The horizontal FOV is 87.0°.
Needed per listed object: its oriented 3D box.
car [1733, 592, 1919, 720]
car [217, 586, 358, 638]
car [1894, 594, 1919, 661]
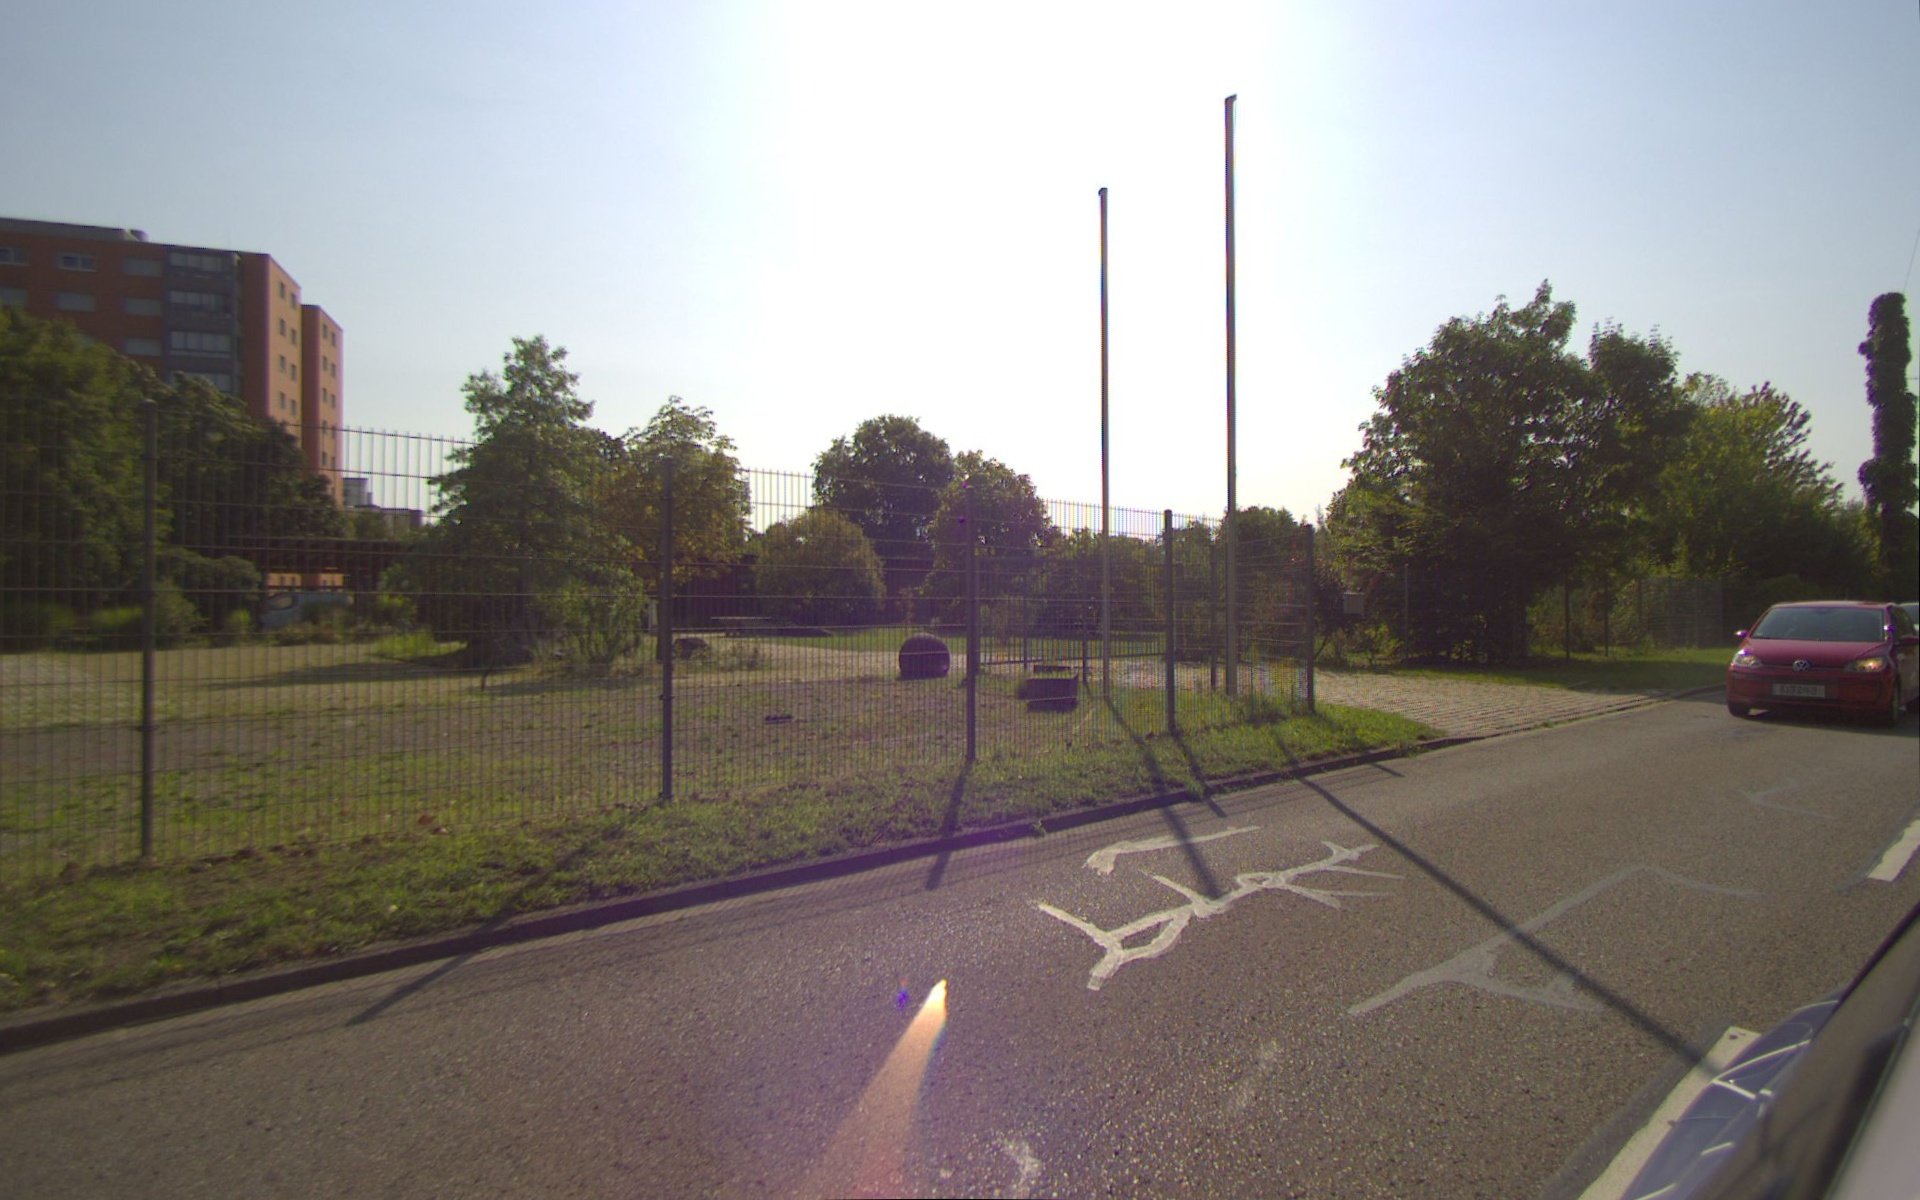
[{"bbox_3d":[11.472,0.617,13.117,3.410,1.416,1.578,-1,1,-39],"label":"car"},{"bbox_3d":[-23.362,0.388,35.217,3.930,1.739,1.743,0,0,-41],"label":"car"},{"bbox_3d":[23.034,0.596,23.410,3.830,1.494,1.648,-1,0,-41],"label":"car"}]
